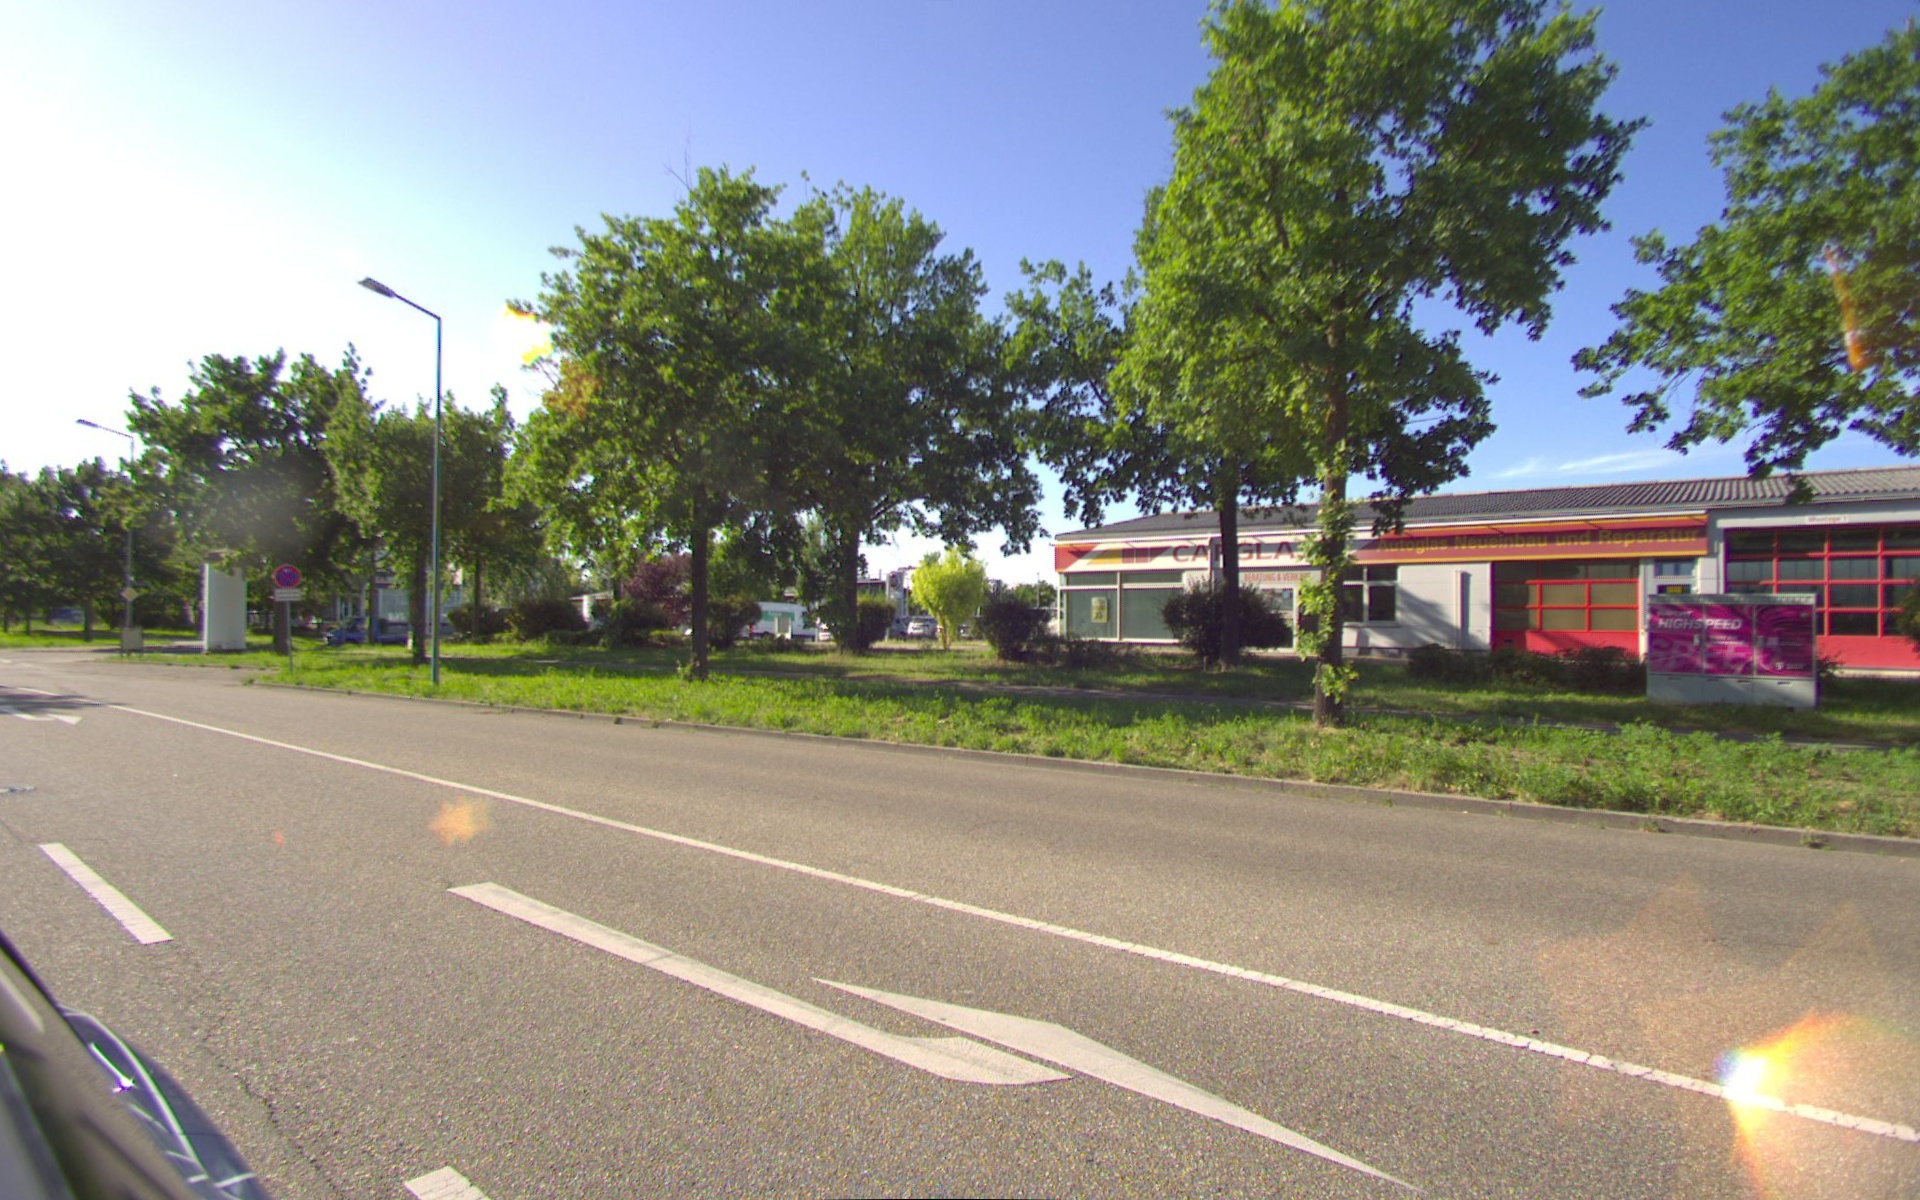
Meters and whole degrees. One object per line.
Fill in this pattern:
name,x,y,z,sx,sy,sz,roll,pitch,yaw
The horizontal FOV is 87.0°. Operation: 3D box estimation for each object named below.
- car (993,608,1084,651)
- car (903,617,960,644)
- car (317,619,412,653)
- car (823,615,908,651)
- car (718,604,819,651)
car,3.202,1.153,40.606,1.734,1.583,3.769,-3,-1,40
car,-1.884,2.047,68.624,1.761,1.684,3.811,-1,0,40
car,-35.983,2.148,61.233,1.999,1.847,4.578,-1,0,41
car,-5.158,1.764,55.790,1.989,1.795,4.583,-1,0,40
car,-11.465,1.593,61.001,2.406,2.574,5.952,-1,0,36
